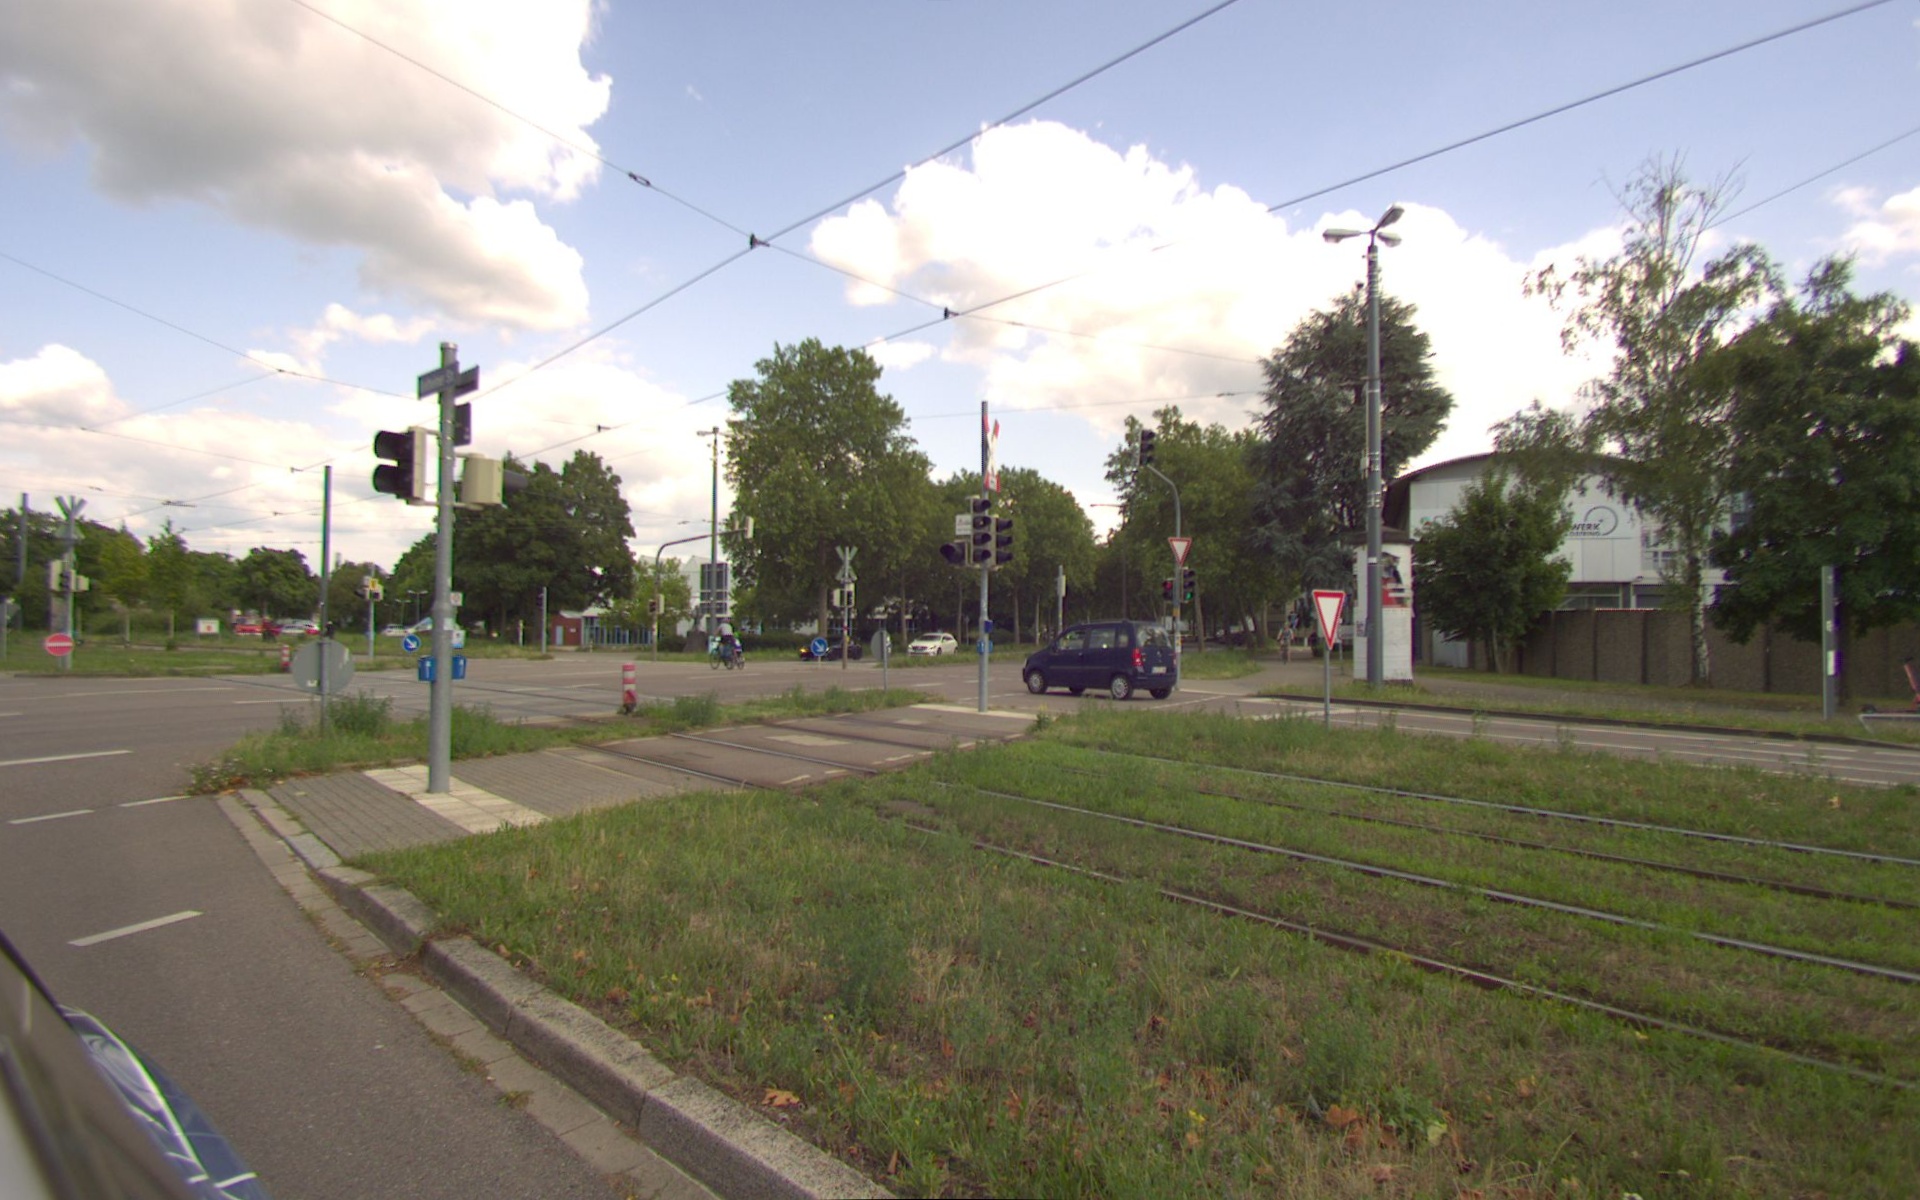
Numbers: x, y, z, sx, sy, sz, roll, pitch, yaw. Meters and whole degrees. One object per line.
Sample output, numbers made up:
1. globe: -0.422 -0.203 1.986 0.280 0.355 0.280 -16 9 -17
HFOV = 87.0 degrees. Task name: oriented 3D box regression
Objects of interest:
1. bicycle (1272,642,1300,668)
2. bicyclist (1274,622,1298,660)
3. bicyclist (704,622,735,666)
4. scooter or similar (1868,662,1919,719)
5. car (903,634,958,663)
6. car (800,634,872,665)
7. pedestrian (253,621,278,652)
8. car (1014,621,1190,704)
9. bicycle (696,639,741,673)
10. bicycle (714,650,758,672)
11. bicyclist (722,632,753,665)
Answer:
1. bicycle: 14.362 2.414 44.598 0.795 1.068 2.064 -2 -3 8
2. bicyclist: 14.347 1.789 44.593 0.794 1.647 1.015 -1 -3 8
3. bicyclist: -8.239 1.500 34.624 0.929 1.468 0.616 -1 -3 45
4. scooter or similar: 17.943 1.699 19.025 0.420 1.041 1.227 1 -2 -26
5. car: -1.608 2.695 56.932 1.688 1.535 3.881 0 -2 22
6. car: -6.356 2.535 52.153 1.694 1.535 3.815 0 -2 32
7. pedestrian: -42.601 2.251 62.116 0.999 1.882 0.899 -1 -2 31
8. car: 3.075 1.314 22.237 1.758 1.639 3.498 2 -2 -44
9. bicycle: -8.292 1.908 34.682 1.805 1.088 0.638 -1 -3 45
10. bicycle: -7.811 2.120 35.289 0.638 0.723 1.806 3 -3 -44
11. bicyclist: -7.745 1.695 35.237 0.632 1.121 0.929 3 -3 -44
